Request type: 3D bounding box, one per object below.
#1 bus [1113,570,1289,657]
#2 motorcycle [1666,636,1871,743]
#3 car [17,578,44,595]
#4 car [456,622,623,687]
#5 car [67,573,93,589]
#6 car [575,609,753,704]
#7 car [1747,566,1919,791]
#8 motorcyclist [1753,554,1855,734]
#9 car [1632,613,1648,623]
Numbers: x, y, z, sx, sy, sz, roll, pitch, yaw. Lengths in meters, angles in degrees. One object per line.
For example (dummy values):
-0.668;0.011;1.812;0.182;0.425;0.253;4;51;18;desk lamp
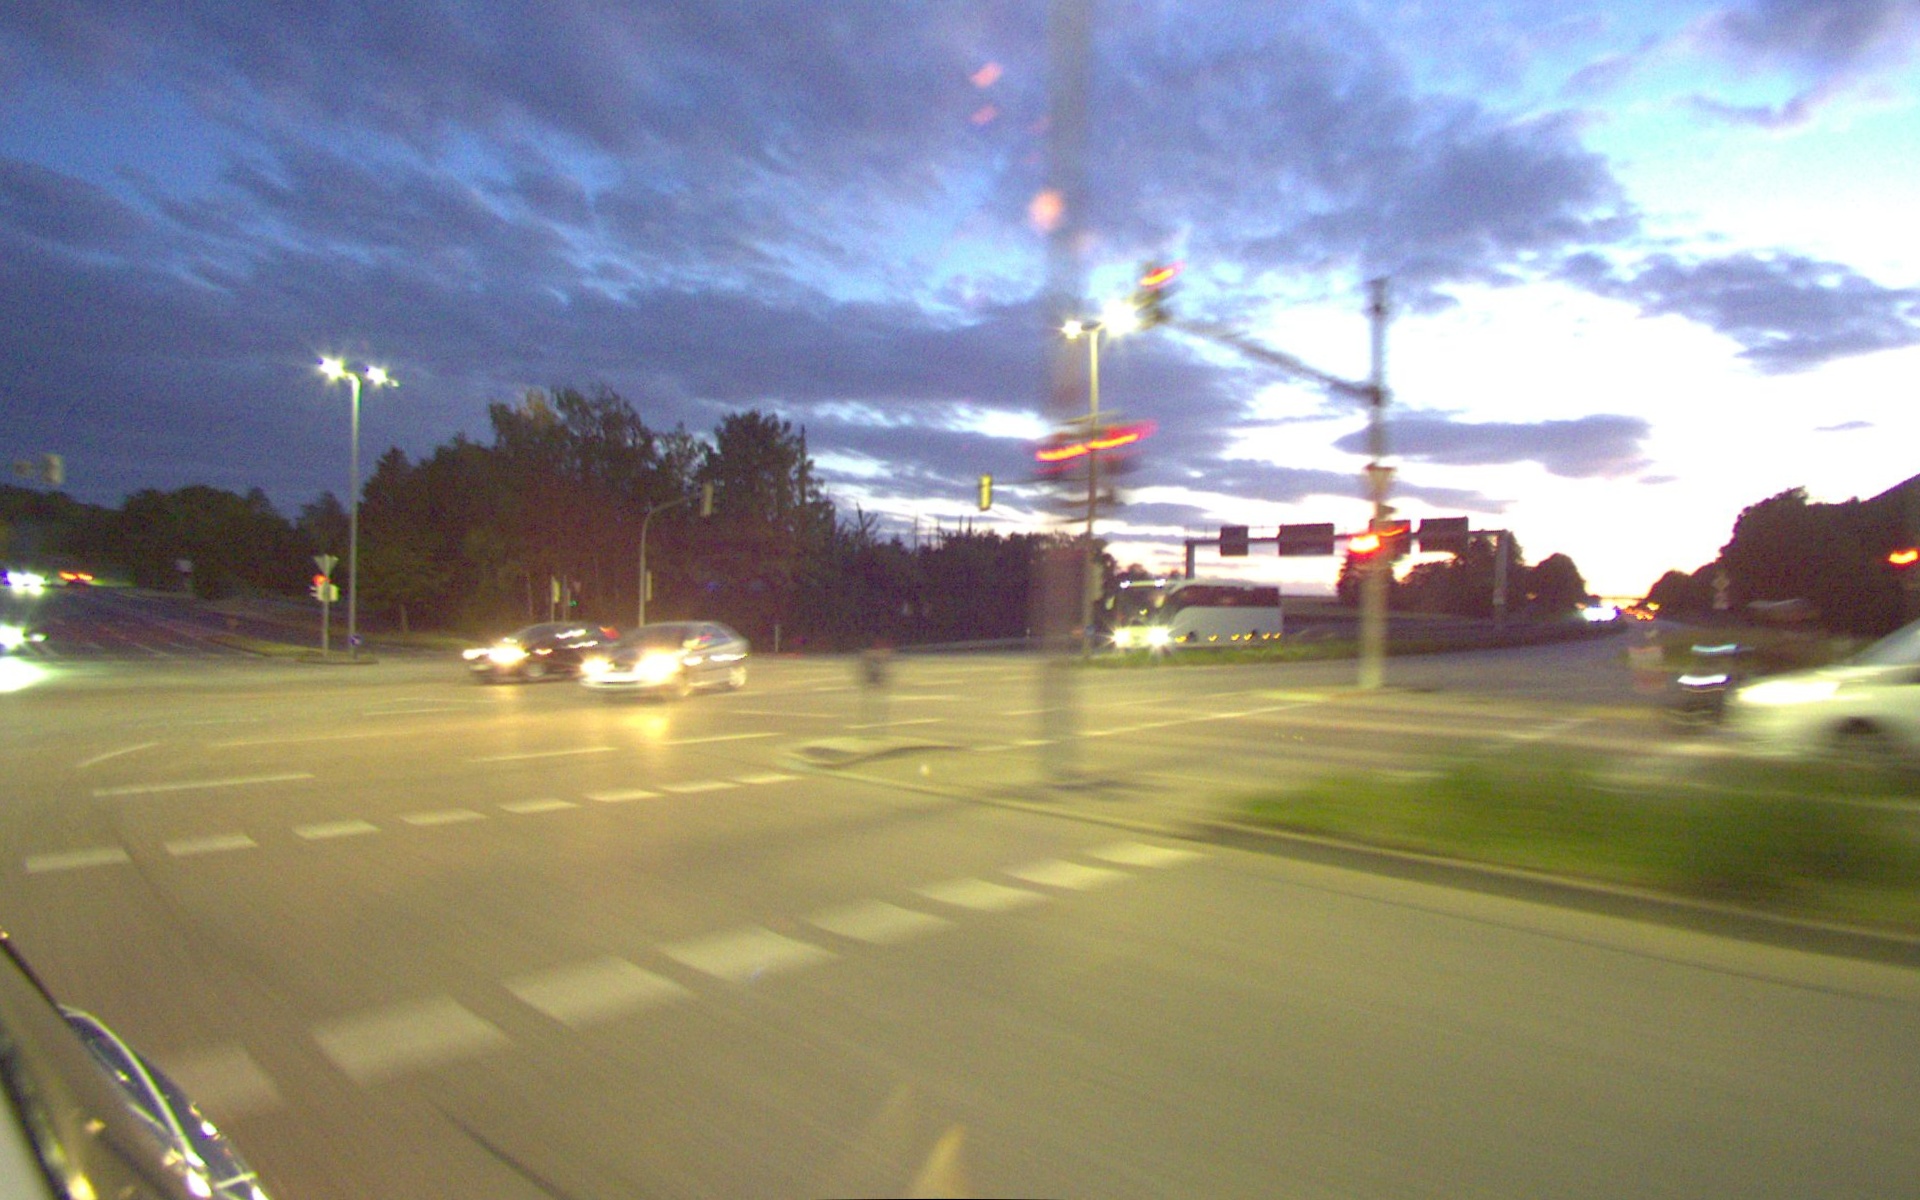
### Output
12.189;0.681;49.940;2.616;3.819;12.099;-3;-2;44;bus
9.674;1.029;12.178;0.662;1.172;1.812;1;-2;-38;motorcycle
-97.645;-1.371;106.387;1.671;1.608;3.933;0;-2;-37;car
-10.466;1.316;25.433;1.662;1.492;3.742;-1;-2;26;car
-96.572;-2.101;111.015;4.060;1.584;1.716;4;3;43;car
-5.723;1.076;20.187;1.653;1.665;4.397;-1;-2;10;car
9.347;0.632;7.926;1.821;1.828;4.779;1;-2;-43;car
9.928;0.511;11.913;0.626;2.029;0.769;1;-2;-39;motorcyclist
120.186;3.239;178.834;1.912;1.695;4.363;-1;-2;38;car
